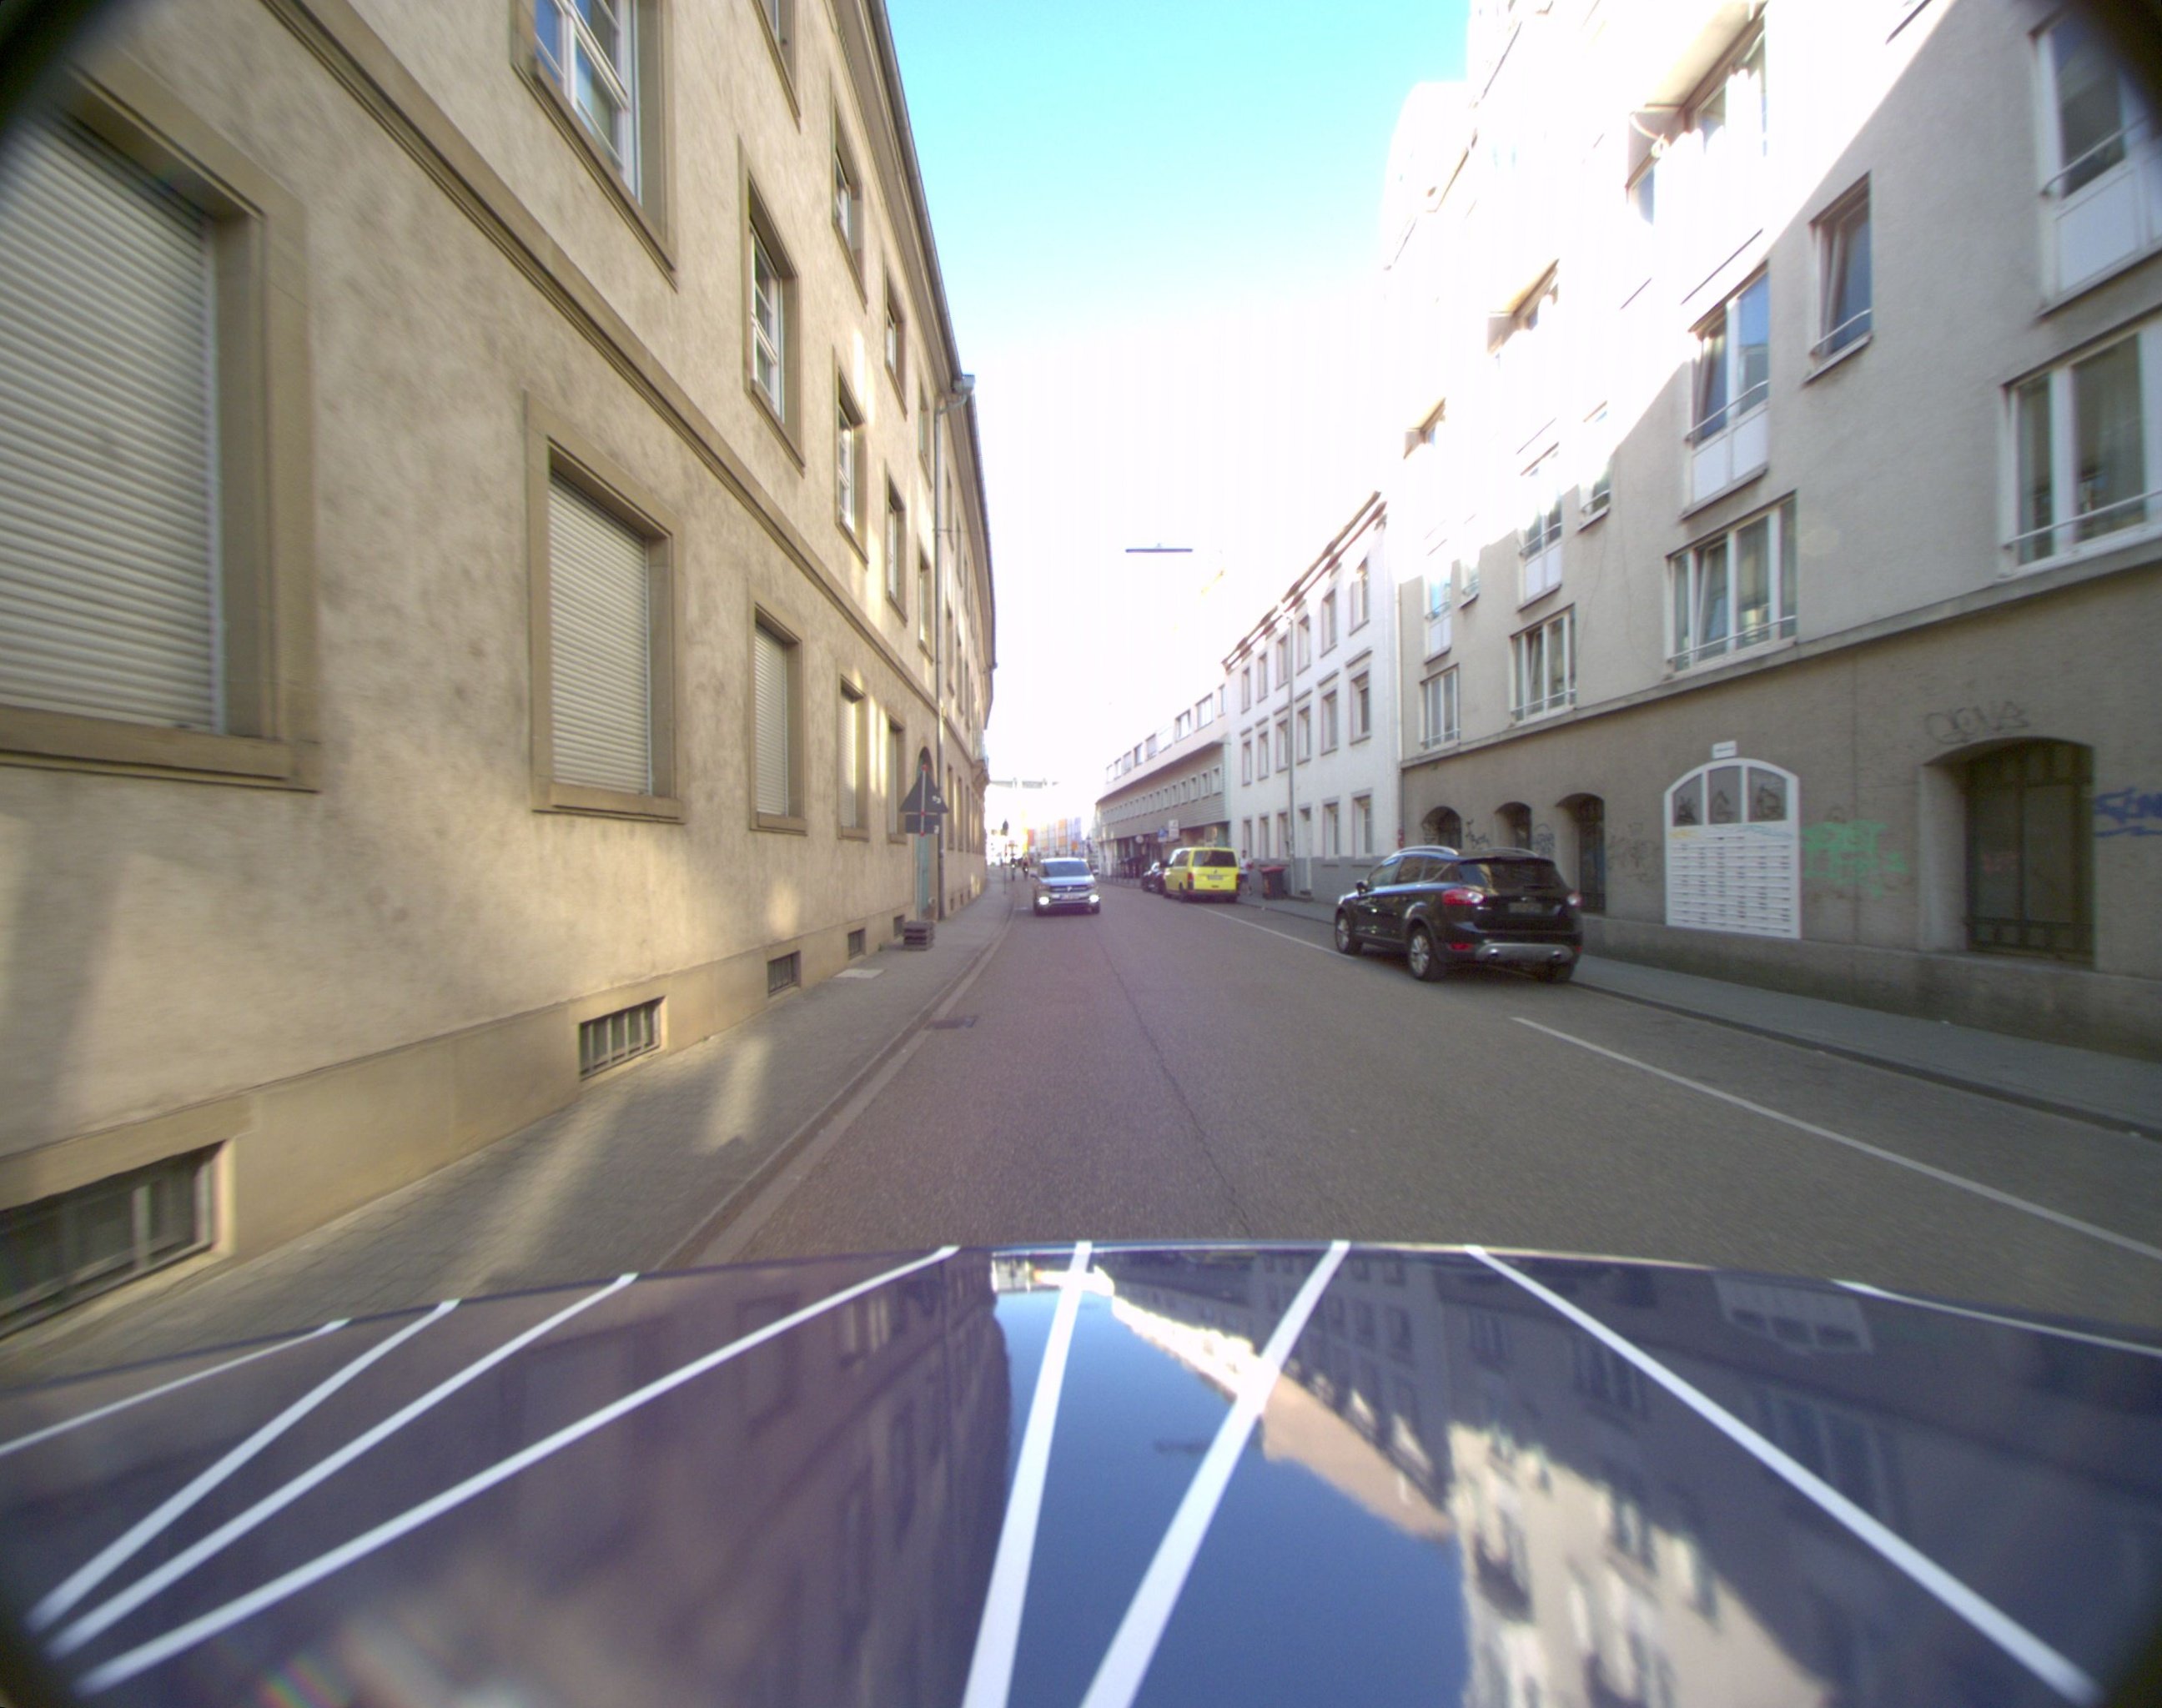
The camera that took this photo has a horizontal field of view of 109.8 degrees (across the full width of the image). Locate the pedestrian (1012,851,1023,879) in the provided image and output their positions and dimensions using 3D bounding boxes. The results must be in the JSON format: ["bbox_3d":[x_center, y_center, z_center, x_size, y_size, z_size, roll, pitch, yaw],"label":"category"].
[{"bbox_3d":[-4.434,0.748,53.081,0.678,1.928,0.857,-1,1,-9],"label":"pedestrian"}]

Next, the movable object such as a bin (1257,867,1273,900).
[{"bbox_3d":[6.294,1.005,25.992,0.411,1.098,0.433,0,1,-2],"label":"movable object such as a bin"}]

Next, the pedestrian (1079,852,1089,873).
[{"bbox_3d":[0.267,0.663,59.326,0.494,1.660,0.627,-4,1,-21],"label":"pedestrian"}]

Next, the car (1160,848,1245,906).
[{"bbox_3d":[4.247,0.749,27.405,1.885,1.856,4.862,2,0,-4],"label":"car"}]

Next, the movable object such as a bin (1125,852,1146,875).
[{"bbox_3d":[3.666,0.670,51.266,1.126,1.511,1.341,-1,-1,-8],"label":"movable object such as a bin"}]

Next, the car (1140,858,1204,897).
[{"bbox_3d":[3.844,0.963,32.802,1.824,1.477,4.074,2,0,-6],"label":"car"}]

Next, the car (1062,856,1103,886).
[{"bbox_3d":[0.026,0.924,43.714,1.720,1.569,4.187,-1,0,-9],"label":"car"}]

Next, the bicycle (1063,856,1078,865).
[{"bbox_3d":[-1.413,0.873,101.663,1.804,0.940,0.388,-5,1,-9],"label":"bicycle"}]

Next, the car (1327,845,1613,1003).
[{"bbox_3d":[5.000,0.784,10.525,1.744,1.701,4.190,2,0,0],"label":"car"}]

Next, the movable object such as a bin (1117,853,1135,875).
[{"bbox_3d":[3.156,0.710,53.115,0.971,1.462,1.474,-1,-1,-8],"label":"movable object such as a bin"}]

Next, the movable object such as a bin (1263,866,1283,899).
[{"bbox_3d":[6.369,0.947,25.214,0.542,1.098,0.433,0,1,-2],"label":"movable object such as a bin"}]

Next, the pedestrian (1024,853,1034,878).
[{"bbox_3d":[-3.668,0.822,53.540,0.603,1.770,0.651,-1,1,-9],"label":"pedestrian"}]

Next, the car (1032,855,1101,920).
[{"bbox_3d":[-0.522,0.889,22.174,1.683,1.568,4.240,-4,1,-4],"label":"car"}]
